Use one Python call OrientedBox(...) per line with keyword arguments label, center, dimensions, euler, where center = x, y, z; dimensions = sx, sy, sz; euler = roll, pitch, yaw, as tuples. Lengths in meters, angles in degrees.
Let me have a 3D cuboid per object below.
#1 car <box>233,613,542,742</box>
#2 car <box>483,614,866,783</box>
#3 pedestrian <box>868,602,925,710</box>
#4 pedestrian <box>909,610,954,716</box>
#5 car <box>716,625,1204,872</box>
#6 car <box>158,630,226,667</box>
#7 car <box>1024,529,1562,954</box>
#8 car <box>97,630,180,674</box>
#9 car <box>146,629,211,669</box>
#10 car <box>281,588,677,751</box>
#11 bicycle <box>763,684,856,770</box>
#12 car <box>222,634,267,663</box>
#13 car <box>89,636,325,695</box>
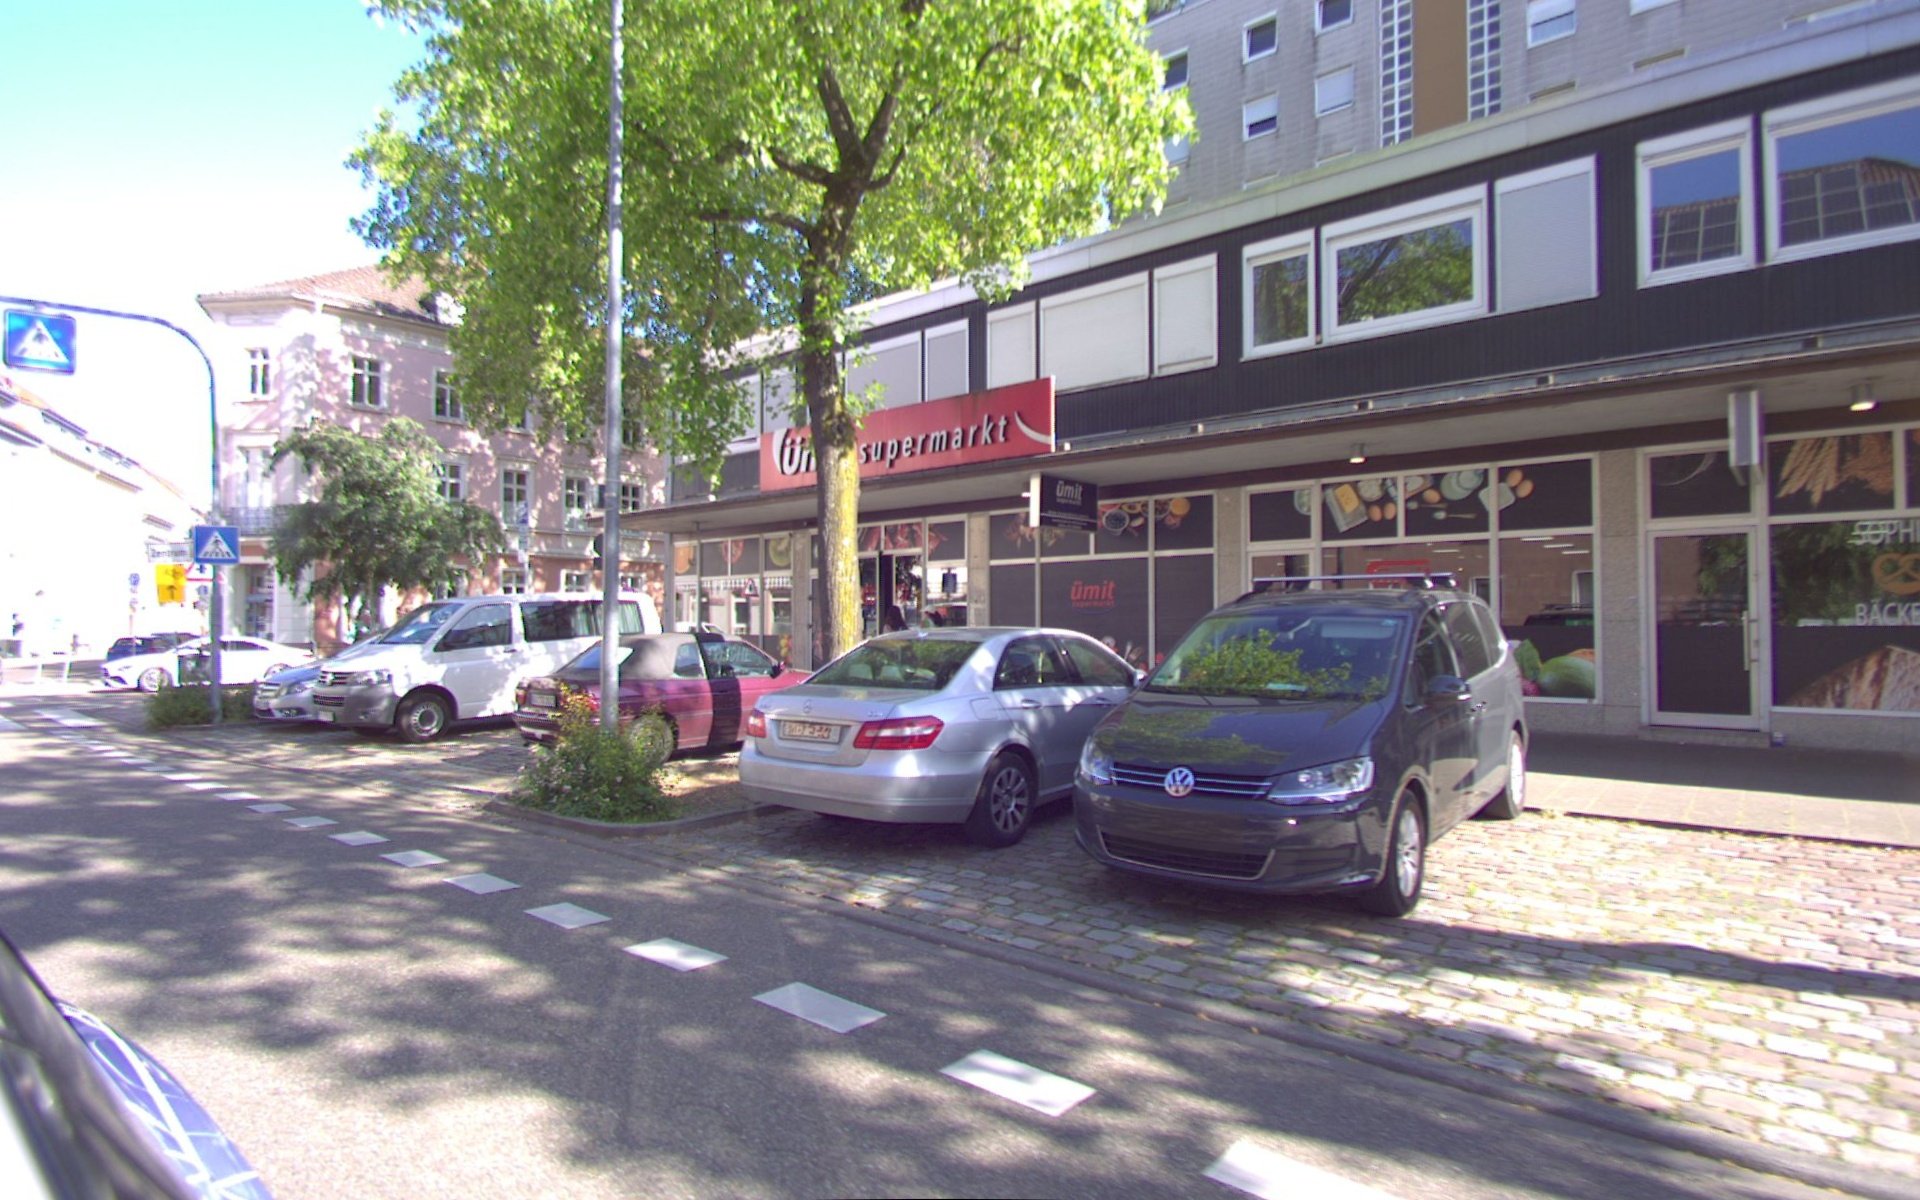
OrientedBox(label="car", center=(-9.002, 1.146, 16.187), dimensions=(1.756, 1.805, 3.947), euler=(-2, -3, 39))
OrientedBox(label="car", center=(-3.092, 0.973, 11.634), dimensions=(1.735, 1.431, 3.949), euler=(-2, 1, 38))
OrientedBox(label="pedestrian", center=(-0.953, 0.824, 15.167), dimensions=(0.662, 1.567, 0.522), euler=(-1, -1, 41))
OrientedBox(label="pedestrian", center=(-0.436, 0.948, 15.468), dimensions=(0.498, 1.567, 0.468), euler=(-1, -1, 41))
OrientedBox(label="car", center=(0.235, 0.916, 7.898), dimensions=(1.757, 1.409, 3.948), euler=(-2, -3, 38))
OrientedBox(label="car", center=(-36.996, 2.310, 48.848), dimensions=(1.827, 1.674, 4.013), euler=(1, -2, -26))
OrientedBox(label="car", center=(2.548, 0.620, 6.727), dimensions=(1.872, 1.790, 4.723), euler=(-2, -1, 38))
OrientedBox(label="car", center=(-32.565, 2.043, 40.244), dimensions=(1.645, 1.650, 4.061), euler=(1, -2, -26))
OrientedBox(label="car", center=(-34.741, 2.158, 45.075), dimensions=(1.482, 1.674, 4.013), euler=(1, -2, -26))
OrientedBox(label="car", center=(-6.791, 0.876, 14.833), dimensions=(1.907, 1.984, 4.934), euler=(-2, -1, 38))
OrientedBox(label="bicycle", center=(-1.519, 1.275, 10.363), dimensions=(0.247, 0.773, 1.158), euler=(-1, -2, 32))
OrientedBox(label="car", center=(-43.182, 2.909, 61.141), dimensions=(1.493, 1.674, 4.013), euler=(1, -2, -26))
OrientedBox(label="car", center=(-20.101, 1.694, 27.207), dimensions=(1.998, 1.436, 4.742), euler=(-2, -3, 39))
